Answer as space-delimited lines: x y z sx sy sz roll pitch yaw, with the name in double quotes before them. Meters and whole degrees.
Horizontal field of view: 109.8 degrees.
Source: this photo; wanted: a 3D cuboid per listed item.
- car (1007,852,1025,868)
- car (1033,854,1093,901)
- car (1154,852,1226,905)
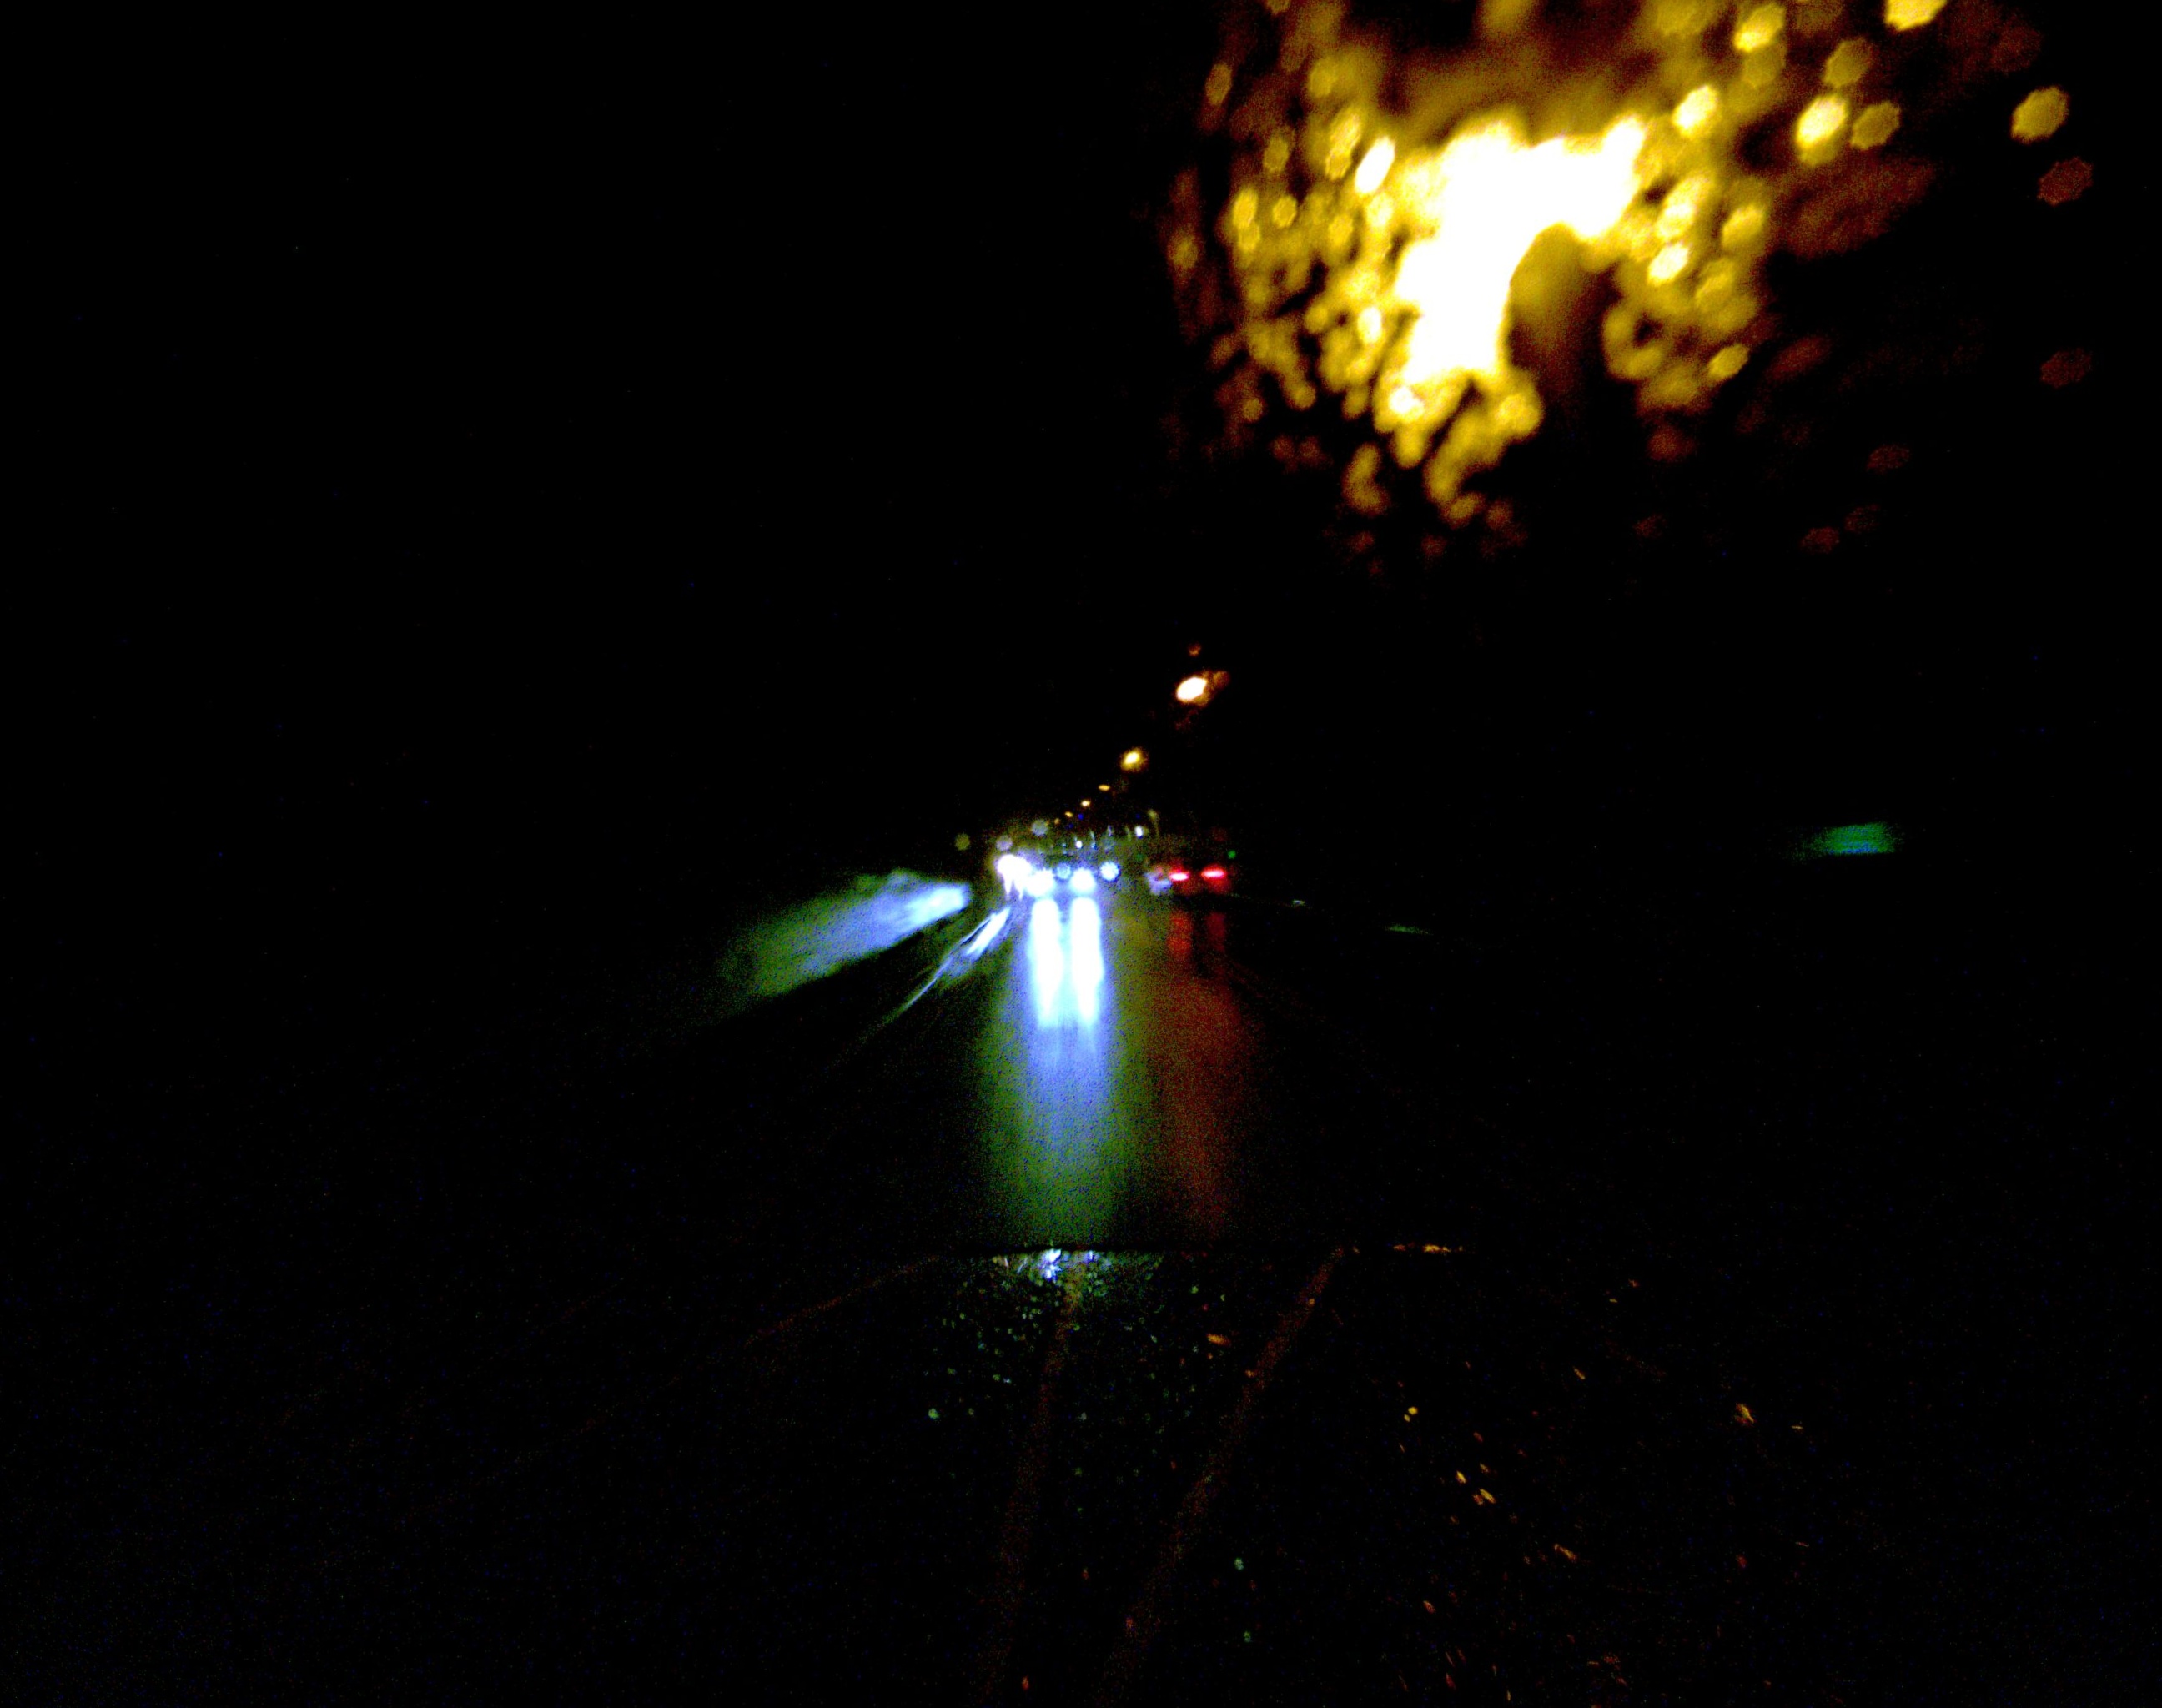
"car" -8.217 0.719 96.379 1.900 2.002 3.996 -2 1 -10
"car" -0.812 0.858 30.558 1.999 1.585 4.606 -3 1 -6
"car" 3.326 0.690 23.848 1.630 1.438 3.936 -3 0 0
